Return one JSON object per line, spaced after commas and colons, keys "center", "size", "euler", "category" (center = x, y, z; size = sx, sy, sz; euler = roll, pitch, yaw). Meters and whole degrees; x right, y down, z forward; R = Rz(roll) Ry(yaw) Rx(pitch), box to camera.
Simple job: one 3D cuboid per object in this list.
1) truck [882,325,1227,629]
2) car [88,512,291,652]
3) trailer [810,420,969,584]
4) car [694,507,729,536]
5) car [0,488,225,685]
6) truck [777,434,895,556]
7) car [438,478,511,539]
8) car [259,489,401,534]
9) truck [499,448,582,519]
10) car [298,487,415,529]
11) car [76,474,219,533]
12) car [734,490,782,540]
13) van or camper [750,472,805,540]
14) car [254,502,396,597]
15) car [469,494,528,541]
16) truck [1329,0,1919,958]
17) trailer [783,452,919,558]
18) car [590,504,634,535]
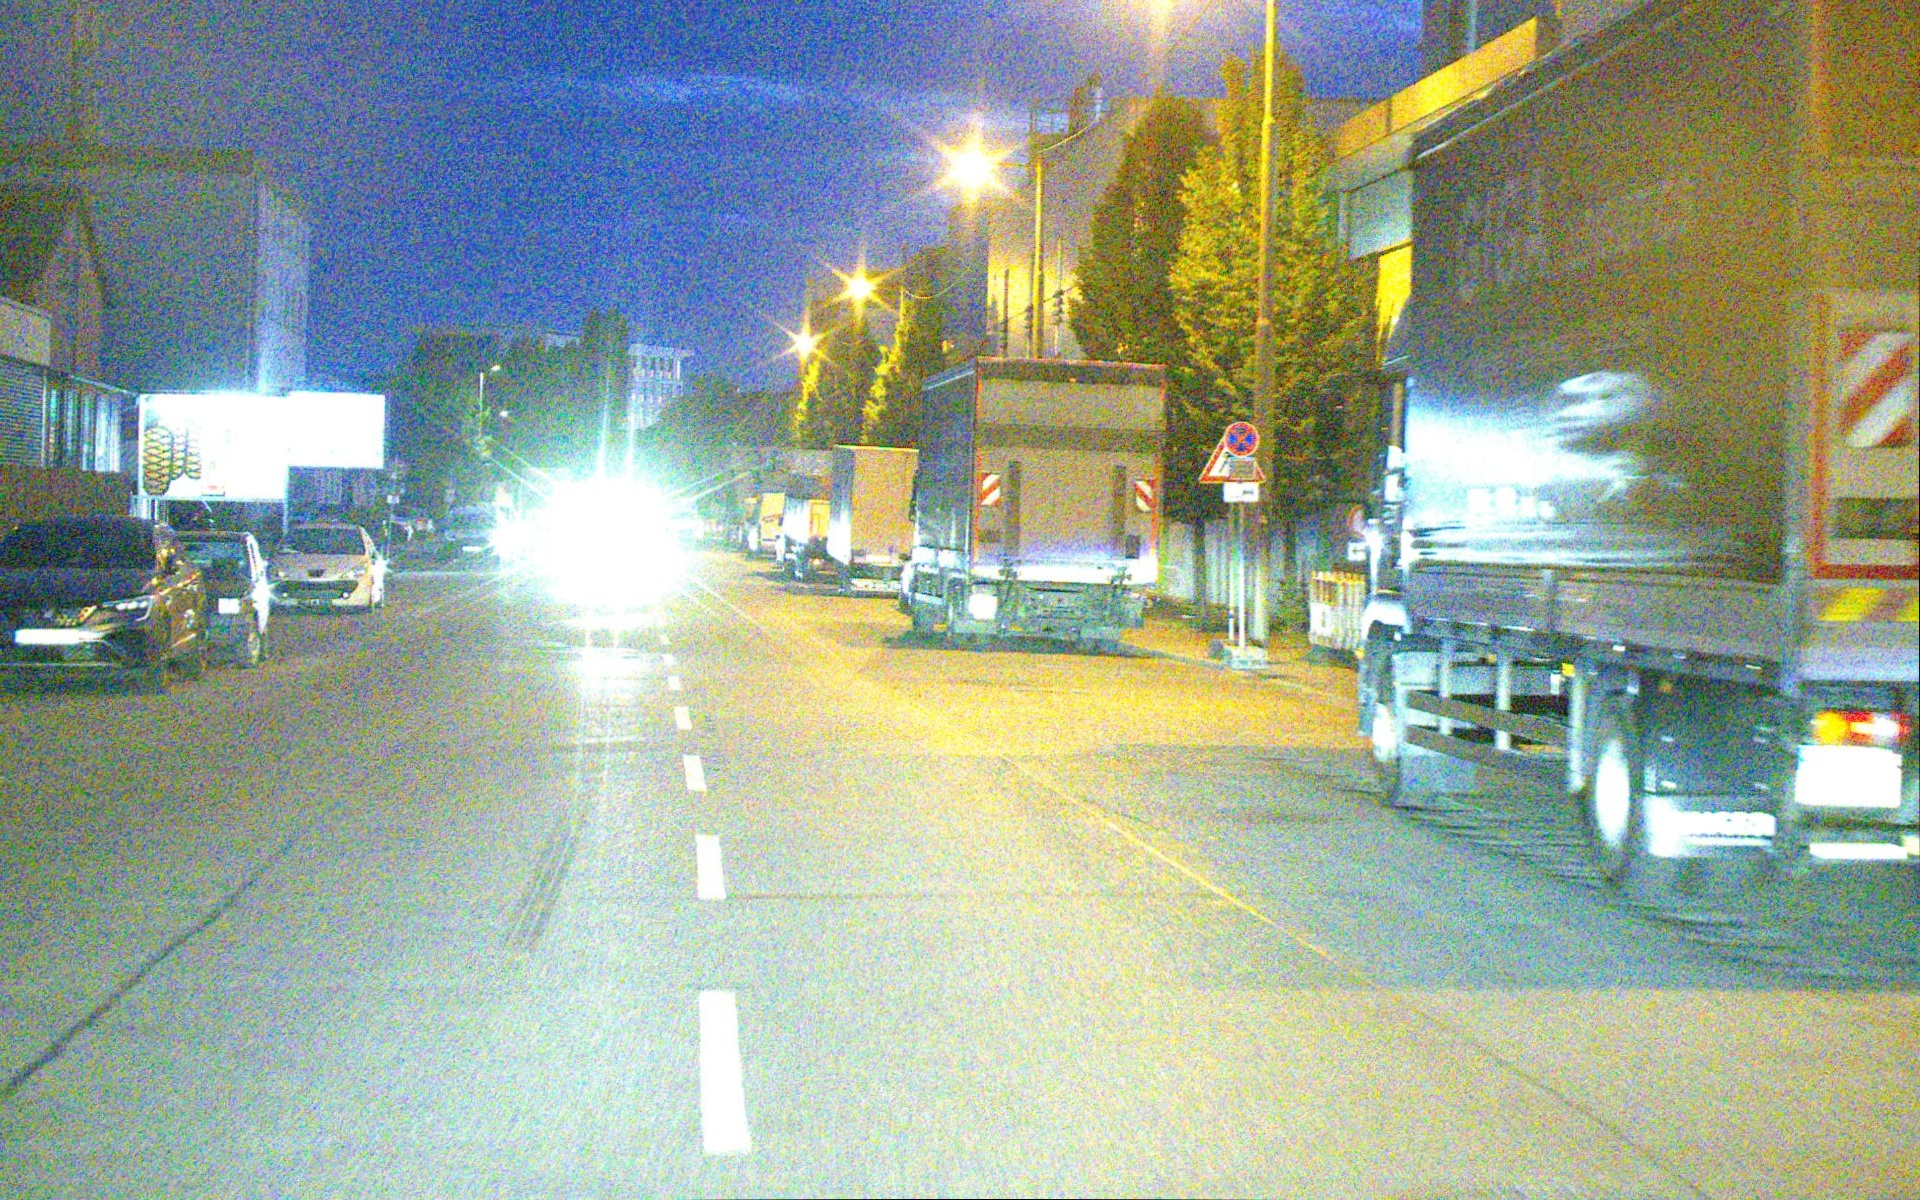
{"center": [1.140, -1.704, 50.349], "size": [3.520, 3.969, 10.345], "euler": [0, 1, -7], "category": "truck"}
{"center": [-8.224, -0.232, 36.947], "size": [1.601, 1.349, 4.001], "euler": [2, 2, -5], "category": "car"}
{"center": [-1.694, -2.207, 78.597], "size": [2.686, 3.452, 7.811], "euler": [2, 1, -7], "category": "trailer"}
{"center": [-14.924, -4.711, 206.101], "size": [1.993, 1.678, 4.001], "euler": [2, 1, -5], "category": "car"}
{"center": [-8.056, -0.173, 31.635], "size": [1.993, 1.631, 4.775], "euler": [2, 1, -6], "category": "car"}
{"center": [-3.732, -3.074, 101.976], "size": [3.151, 3.451, 6.674], "euler": [0, 1, -5], "category": "truck"}
{"center": [-15.195, -2.872, 107.718], "size": [1.993, 1.787, 4.001], "euler": [2, 1, -5], "category": "car"}
{"center": [-22.675, -3.186, 123.836], "size": [4.612, 1.480, 2.000], "euler": [1, 2, -27], "category": "car"}
{"center": [-22.574, -6.235, 184.574], "size": [3.889, 3.609, 8.263], "euler": [2, 1, -10], "category": "truck"}
{"center": [-23.199, -3.519, 132.129], "size": [3.987, 1.589, 2.000], "euler": [0, 1, -31], "category": "car"}
{"center": [-24.634, -2.926, 104.347], "size": [3.986, 1.645, 2.001], "euler": [2, 1, -7], "category": "car"}
{"center": [-9.186, -3.868, 156.028], "size": [1.993, 2.138, 4.001], "euler": [2, 1, -5], "category": "car"}
{"center": [-7.231, -3.713, 135.711], "size": [1.993, 2.572, 4.916], "euler": [2, 1, -4], "category": "van or camper"}
{"center": [-10.202, -0.846, 55.472], "size": [1.841, 1.415, 4.001], "euler": [2, 1, -5], "category": "car"}
{"center": [-17.883, -3.220, 133.404], "size": [1.897, 1.730, 4.356], "euler": [2, 1, -3], "category": "car"}
{"center": [3.997, -0.841, 17.049], "size": [2.830, 3.969, 10.343], "euler": [0, 1, -2], "category": "truck"}
{"center": [-3.111, -2.573, 94.868], "size": [3.184, 2.739, 10.717], "euler": [0, 1, -5], "category": "trailer"}
{"center": [-16.817, -3.886, 166.169], "size": [1.993, 1.393, 4.001], "euler": [2, 1, -5], "category": "car"}
